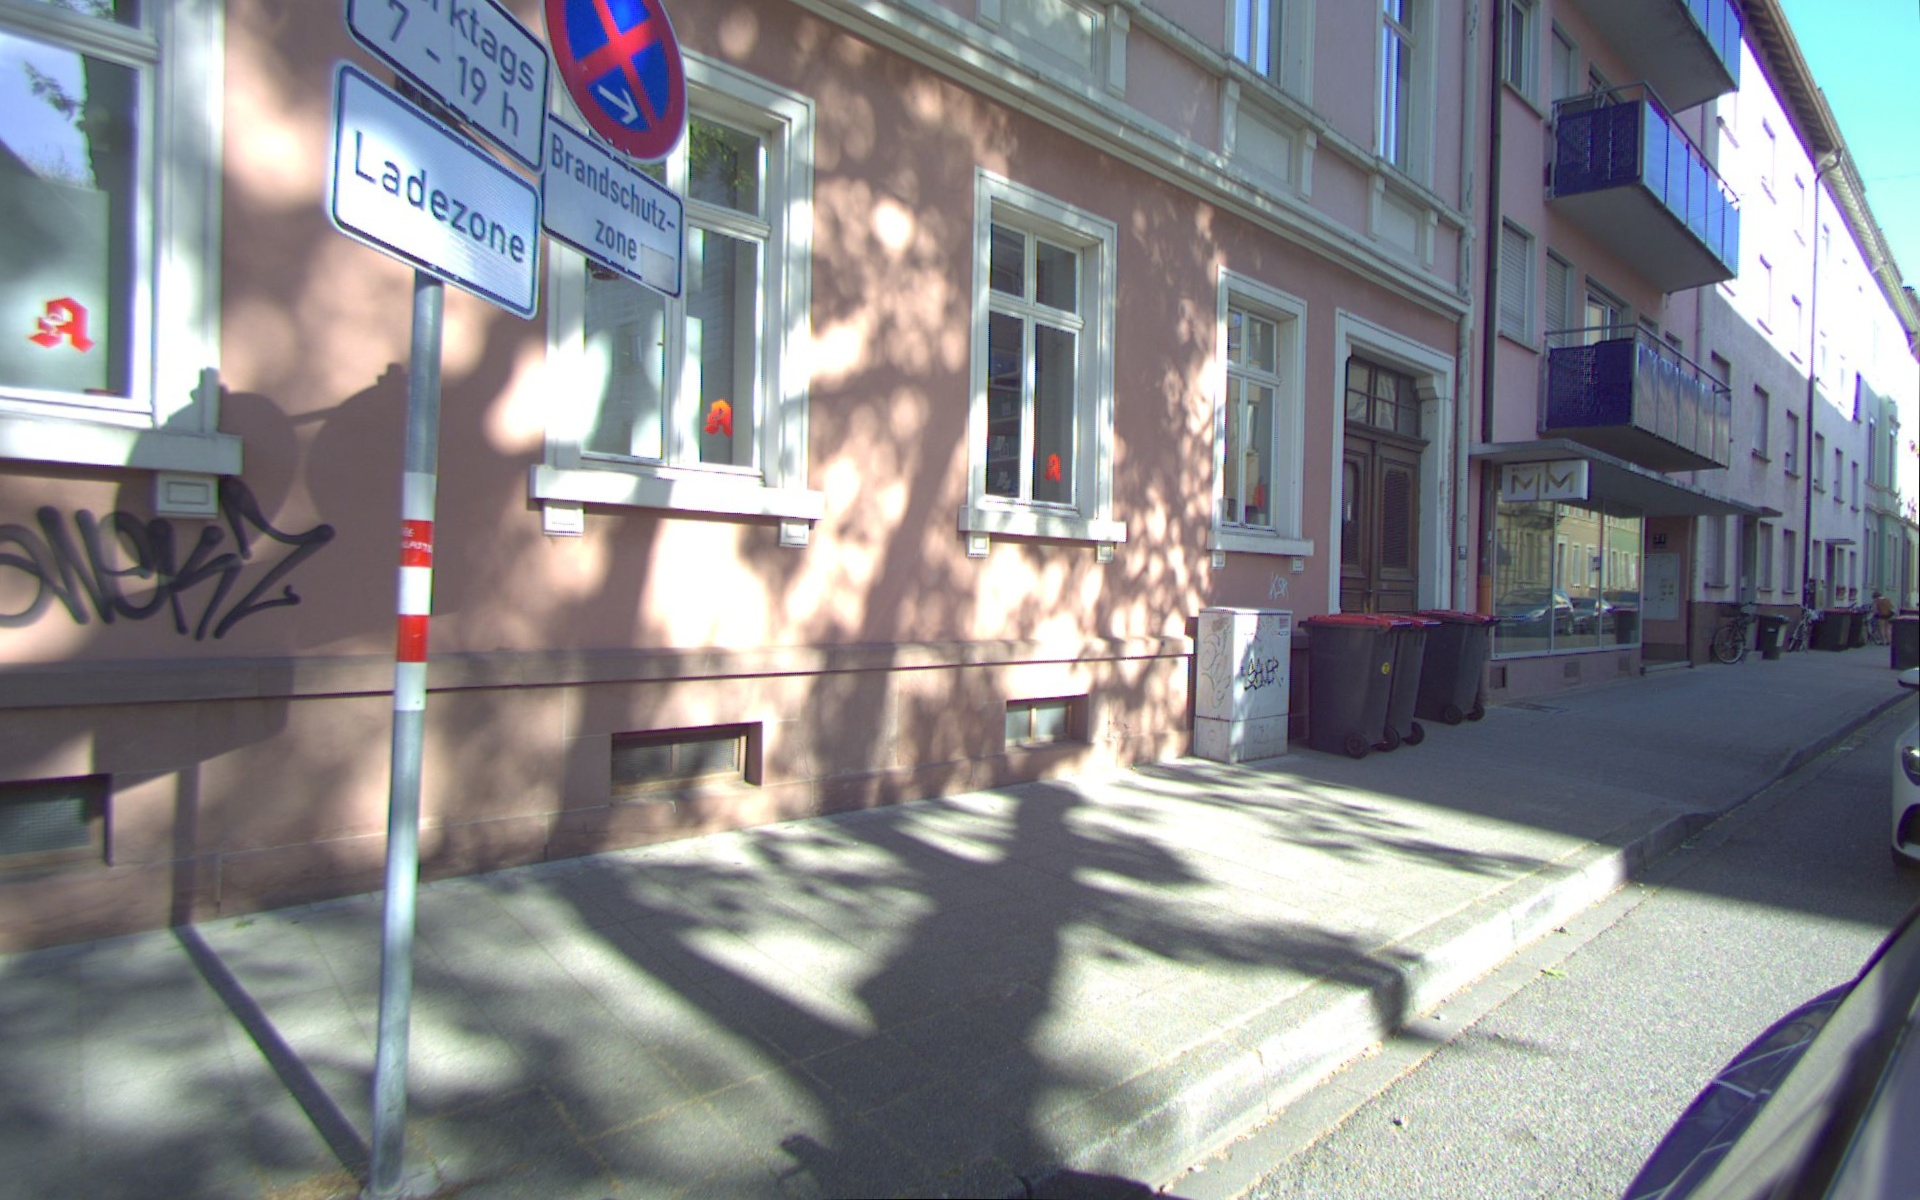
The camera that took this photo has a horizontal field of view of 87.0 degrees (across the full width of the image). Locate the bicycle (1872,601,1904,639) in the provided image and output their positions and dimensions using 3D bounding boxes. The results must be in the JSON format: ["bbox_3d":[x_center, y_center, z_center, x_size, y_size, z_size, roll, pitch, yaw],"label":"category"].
[{"bbox_3d":[27.808,0.587,30.310,1.899,1.110,0.489,0,1,-41],"label":"bicycle"}]

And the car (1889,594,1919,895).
[{"bbox_3d":[6.924,0.731,5.798,4.483,1.475,1.861,0,1,-41],"label":"car"}]

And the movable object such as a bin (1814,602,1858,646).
[{"bbox_3d":[21.857,0.595,25.259,0.537,1.014,0.716,0,4,-43],"label":"movable object such as a bin"}]

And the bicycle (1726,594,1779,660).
[{"bbox_3d":[14.881,0.484,18.992,1.989,1.165,0.402,0,1,-41],"label":"bicycle"}]

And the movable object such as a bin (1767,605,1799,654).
[{"bbox_3d":[16.800,0.603,20.658,0.297,0.951,0.416,1,3,-43],"label":"movable object such as a bin"}]

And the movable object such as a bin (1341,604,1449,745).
[{"bbox_3d":[3.591,0.589,8.362,0.601,1.071,0.570,0,4,-43],"label":"movable object such as a bin"}]

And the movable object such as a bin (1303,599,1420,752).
[{"bbox_3d":[3.145,0.562,7.923,0.643,1.097,0.570,0,4,-43],"label":"movable object such as a bin"}]

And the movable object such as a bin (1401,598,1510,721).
[{"bbox_3d":[4.817,0.553,9.843,0.608,1.097,0.717,0,4,-43],"label":"movable object such as a bin"}]

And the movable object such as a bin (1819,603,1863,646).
[{"bbox_3d":[22.301,0.604,25.621,0.537,1.014,0.716,0,4,-43],"label":"movable object such as a bin"}]

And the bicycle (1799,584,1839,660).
[{"bbox_3d":[20.455,0.505,24.081,2.070,1.757,0.402,0,1,-41],"label":"bicycle"}]
